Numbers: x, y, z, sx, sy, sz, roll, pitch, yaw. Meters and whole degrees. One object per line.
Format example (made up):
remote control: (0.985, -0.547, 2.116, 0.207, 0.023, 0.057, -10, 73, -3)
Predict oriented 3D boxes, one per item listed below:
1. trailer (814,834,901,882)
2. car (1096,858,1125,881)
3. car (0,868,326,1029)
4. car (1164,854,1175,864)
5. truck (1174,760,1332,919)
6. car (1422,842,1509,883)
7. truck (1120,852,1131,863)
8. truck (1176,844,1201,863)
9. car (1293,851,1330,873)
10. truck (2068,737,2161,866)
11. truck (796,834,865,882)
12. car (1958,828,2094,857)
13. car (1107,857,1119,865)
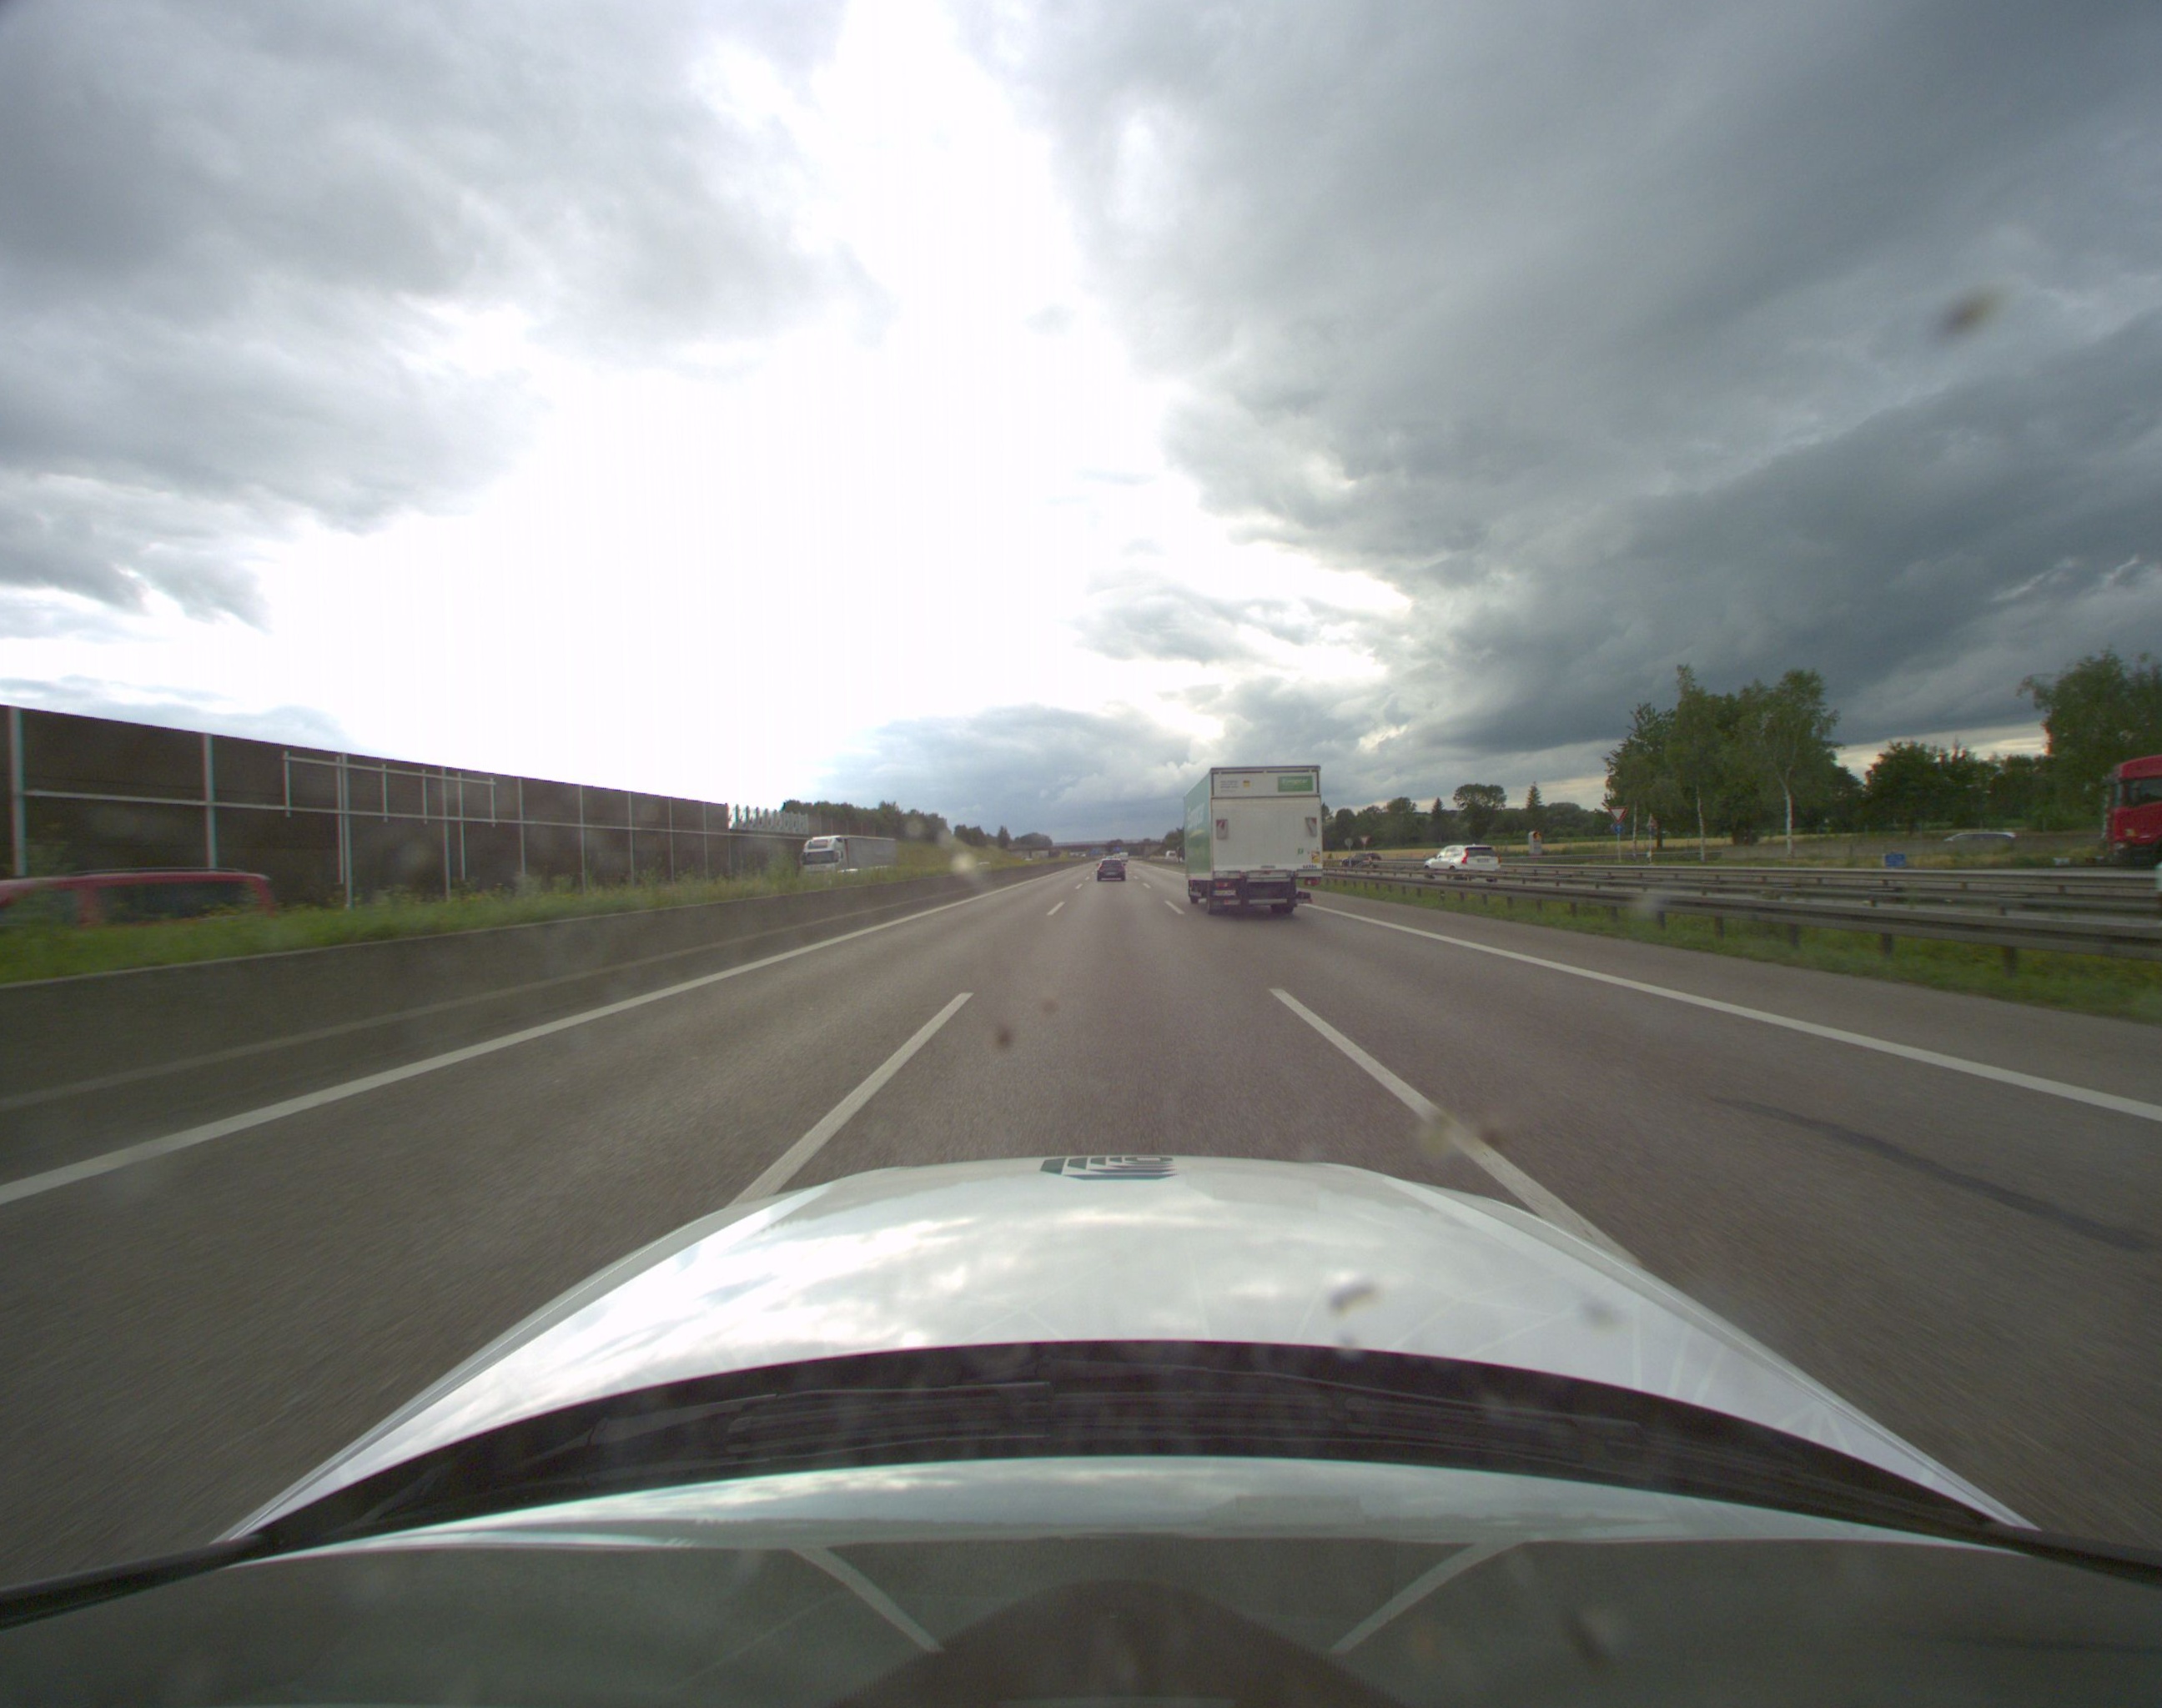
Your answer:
trailer: (-17.783, 0.331, 66.147, 2.809, 3.377, 13.516, -2, 0, 2)
car: (1.862, 0.939, 51.887, 1.736, 1.389, 4.002, -1, 0, 2)
car: (-12.423, 1.049, 10.554, 1.706, 1.696, 3.708, 0, -1, 2)
car: (21.586, 1.209, 198.372, 2.212, 2.568, 6.259, -1, 0, 2)
truck: (4.334, -0.299, 22.644, 2.759, 3.504, 9.066, -1, 0, 2)
car: (17.913, 0.391, 38.249, 1.821, 1.757, 5.067, -2, 0, 2)
truck: (12.253, 1.014, 225.871, 2.700, 2.964, 12.451, 0, -1, 2)
truck: (20.394, -0.032, 155.251, 3.098, 3.471, 8.879, 0, -1, -3)
car: (19.620, 0.700, 69.426, 1.821, 1.757, 5.067, -2, 0, 2)
truck: (37.036, -1.721, 26.785, 2.606, 4.254, 5.625, 1, -1, -42)
truck: (-18.043, 0.305, 59.054, 2.814, 3.227, 5.983, -2, 0, 2)
car: (51.178, -0.566, 44.285, 2.011, 1.468, 4.724, 1, -1, -43)
car: (5.224, 1.120, 133.400, 1.986, 1.298, 4.001, -2, -1, 1)
